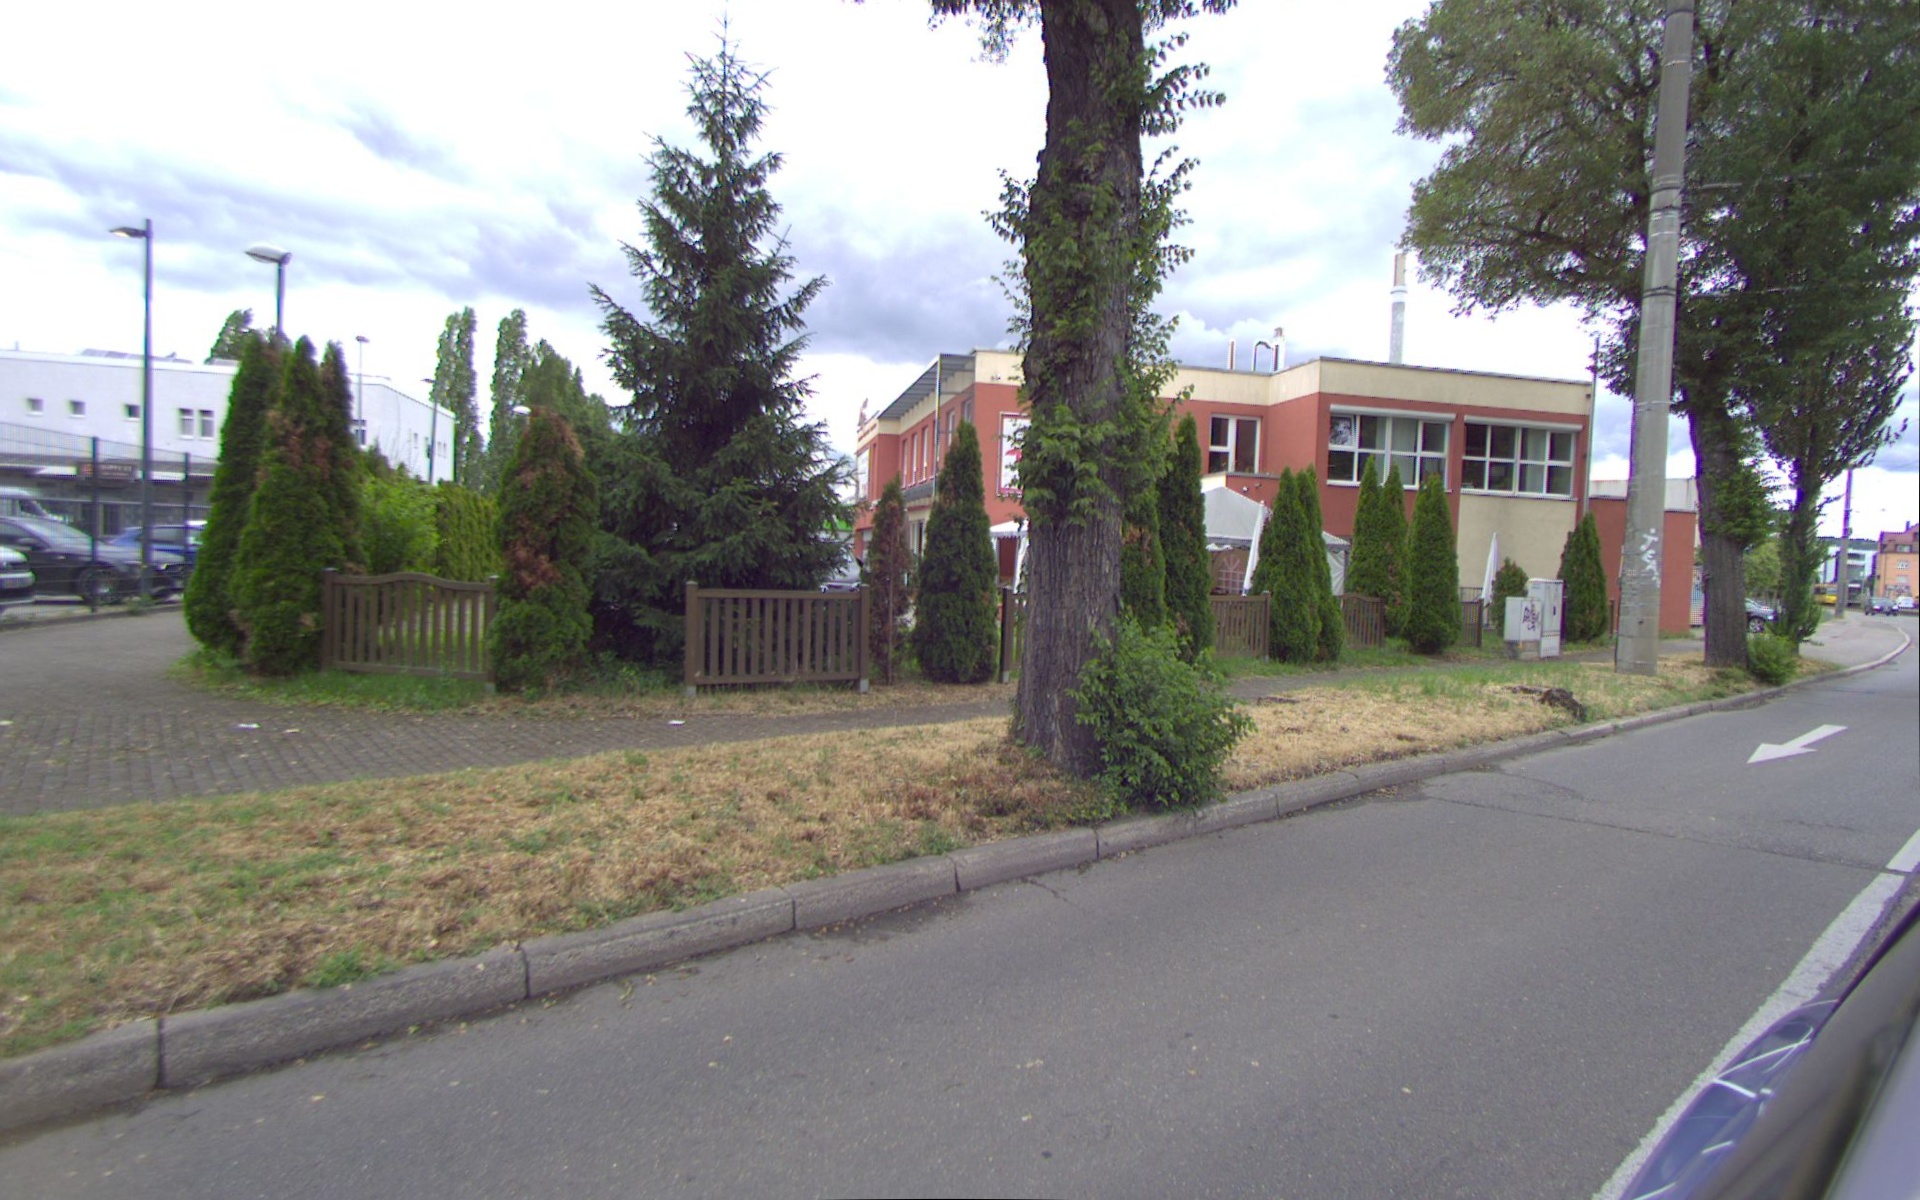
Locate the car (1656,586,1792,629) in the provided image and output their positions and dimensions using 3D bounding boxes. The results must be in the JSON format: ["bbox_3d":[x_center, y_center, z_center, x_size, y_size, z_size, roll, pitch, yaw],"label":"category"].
[{"bbox_3d":[31.843,0.281,42.334,1.726,1.460,4.245,2,3,-19],"label":"car"}]

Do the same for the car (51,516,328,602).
[{"bbox_3d":[-17.204,-0.915,22.852,4.540,1.695,2.005,2,2,-13],"label":"car"}]

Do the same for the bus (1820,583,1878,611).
[{"bbox_3d":[144.582,-0.548,164.748,3.519,4.001,10.421,1,3,21],"label":"bus"}]

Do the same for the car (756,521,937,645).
[{"bbox_3d":[-2.021,-0.322,16.602,1.958,1.727,4.387,1,2,-20],"label":"car"}]

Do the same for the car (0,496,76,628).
[{"bbox_3d":[-14.709,-0.572,13.072,4.540,1.695,2.005,2,2,-13],"label":"car"}]

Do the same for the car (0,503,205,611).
[{"bbox_3d":[-15.936,-0.765,17.193,4.540,1.695,2.005,2,2,-13],"label":"car"}]

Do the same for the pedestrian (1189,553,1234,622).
[{"bbox_3d":[5.692,-0.286,22.911,0.754,1.508,0.706,2,2,-4],"label":"pedestrian"}]

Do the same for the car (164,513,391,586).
[{"bbox_3d":[-17.874,-1.301,26.754,4.540,1.695,2.005,2,2,-13],"label":"car"}]
